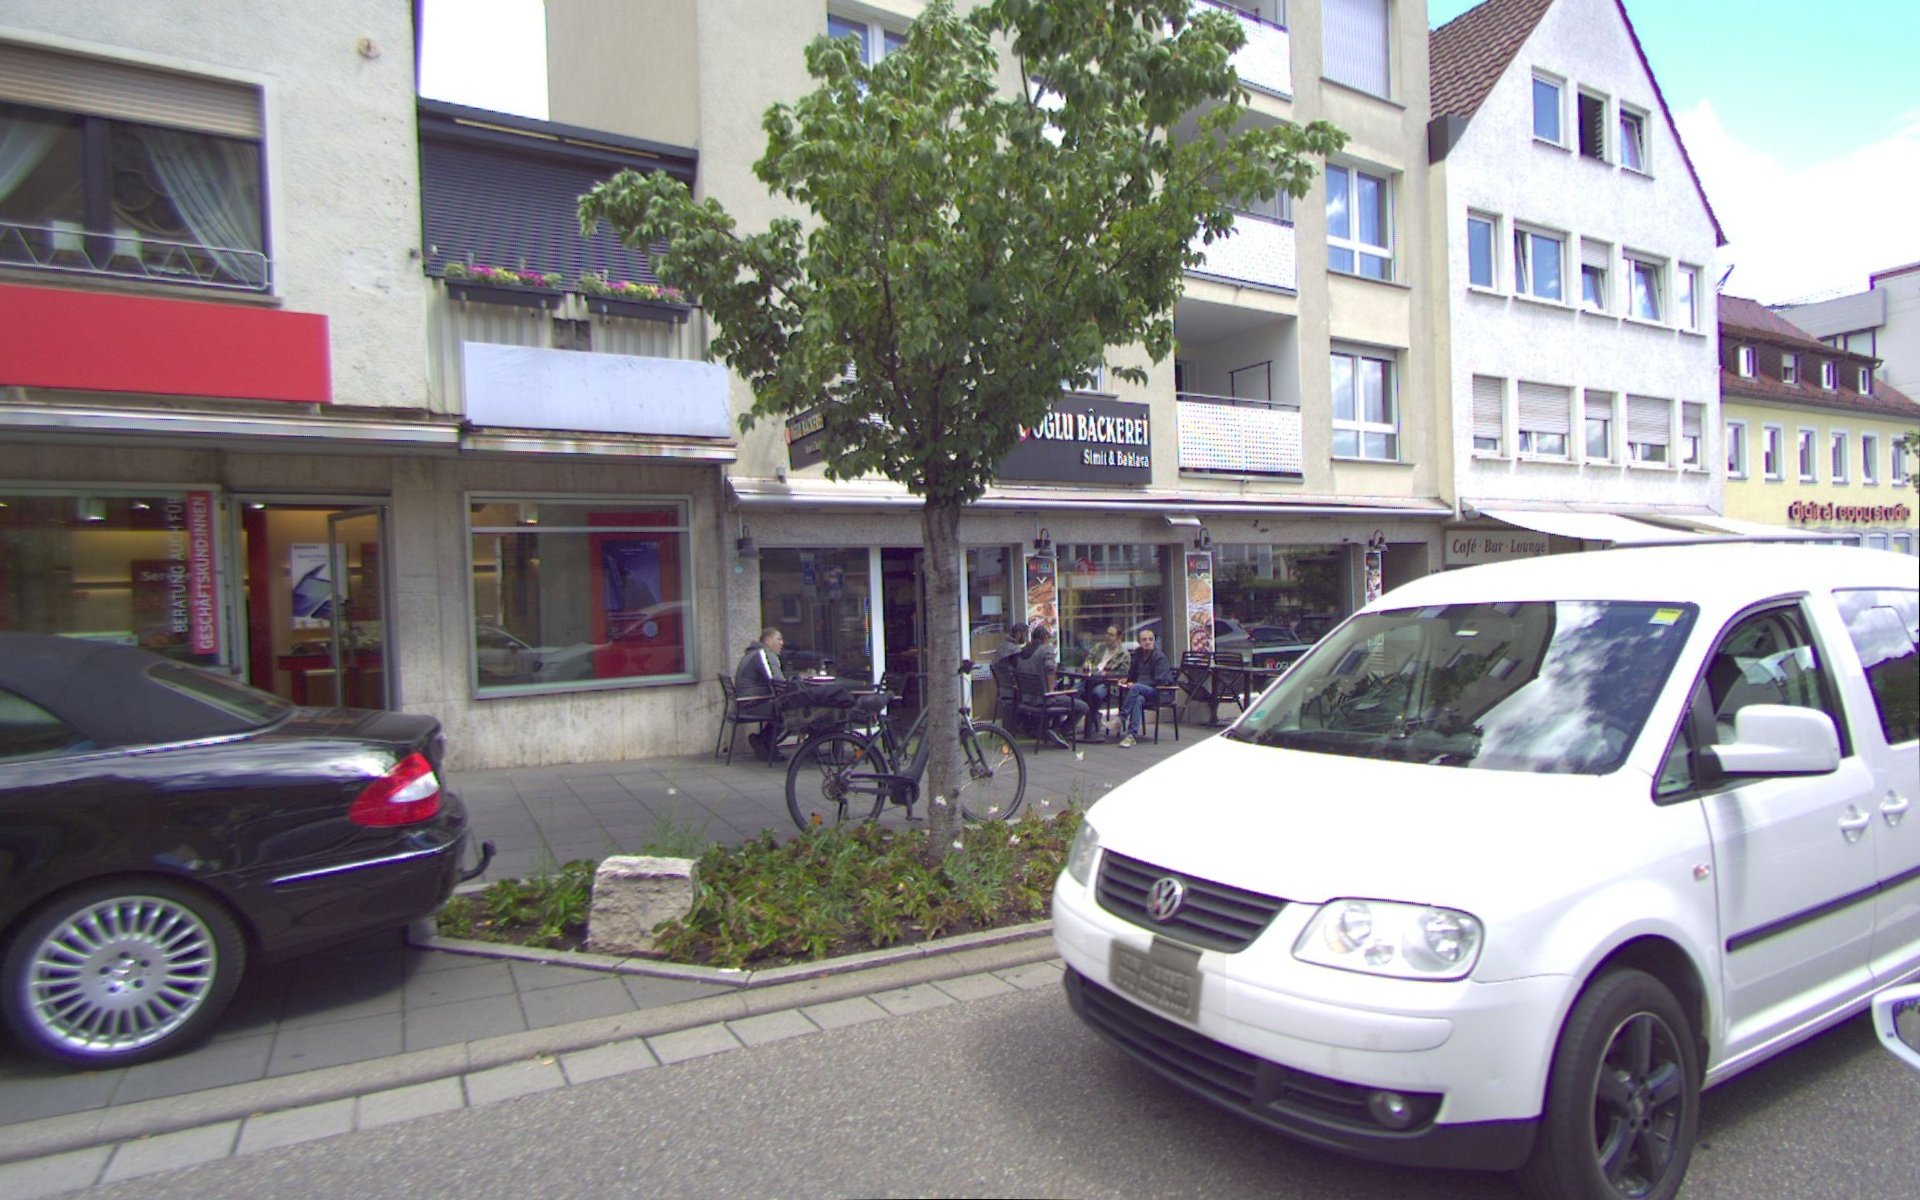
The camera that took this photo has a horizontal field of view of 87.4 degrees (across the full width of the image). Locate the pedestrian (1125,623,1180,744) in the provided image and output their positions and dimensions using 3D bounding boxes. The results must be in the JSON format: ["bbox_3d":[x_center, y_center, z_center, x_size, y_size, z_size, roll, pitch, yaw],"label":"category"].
[{"bbox_3d":[2.167,0.926,11.307,0.449,1.317,0.419,0,0,-30],"label":"pedestrian"}]

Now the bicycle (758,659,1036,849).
[{"bbox_3d":[-0.390,0.986,6.870,1.886,1.121,0.481,1,0,-32],"label":"bicycle"}]

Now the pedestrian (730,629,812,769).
[{"bbox_3d":[-1.799,0.913,9.542,0.592,1.263,0.592,1,0,-30],"label":"pedestrian"}]

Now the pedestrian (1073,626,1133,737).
[{"bbox_3d":[1.687,0.949,11.878,0.560,1.266,0.425,0,0,-30],"label":"pedestrian"}]

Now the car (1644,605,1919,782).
[{"bbox_3d":[9.748,0.918,11.334,4.082,1.668,1.659,1,0,-28],"label":"car"}]

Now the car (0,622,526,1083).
[{"bbox_3d":[-3.988,0.785,3.494,4.391,1.410,1.649,2,-1,-30],"label":"car"}]

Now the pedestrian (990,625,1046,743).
[{"bbox_3d":[0.641,0.920,11.154,0.494,1.266,0.393,0,0,-30],"label":"pedestrian"}]

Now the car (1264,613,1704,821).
[{"bbox_3d":[5.016,0.906,9.378,4.471,1.470,1.827,1,0,-36],"label":"car"}]

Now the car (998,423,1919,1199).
[{"bbox_3d":[2.364,0.631,3.842,4.162,1.826,1.739,1,-3,-30],"label":"car"}]

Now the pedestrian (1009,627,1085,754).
[{"bbox_3d":[0.915,0.930,10.619,0.592,1.284,0.547,1,0,-30],"label":"pedestrian"}]
